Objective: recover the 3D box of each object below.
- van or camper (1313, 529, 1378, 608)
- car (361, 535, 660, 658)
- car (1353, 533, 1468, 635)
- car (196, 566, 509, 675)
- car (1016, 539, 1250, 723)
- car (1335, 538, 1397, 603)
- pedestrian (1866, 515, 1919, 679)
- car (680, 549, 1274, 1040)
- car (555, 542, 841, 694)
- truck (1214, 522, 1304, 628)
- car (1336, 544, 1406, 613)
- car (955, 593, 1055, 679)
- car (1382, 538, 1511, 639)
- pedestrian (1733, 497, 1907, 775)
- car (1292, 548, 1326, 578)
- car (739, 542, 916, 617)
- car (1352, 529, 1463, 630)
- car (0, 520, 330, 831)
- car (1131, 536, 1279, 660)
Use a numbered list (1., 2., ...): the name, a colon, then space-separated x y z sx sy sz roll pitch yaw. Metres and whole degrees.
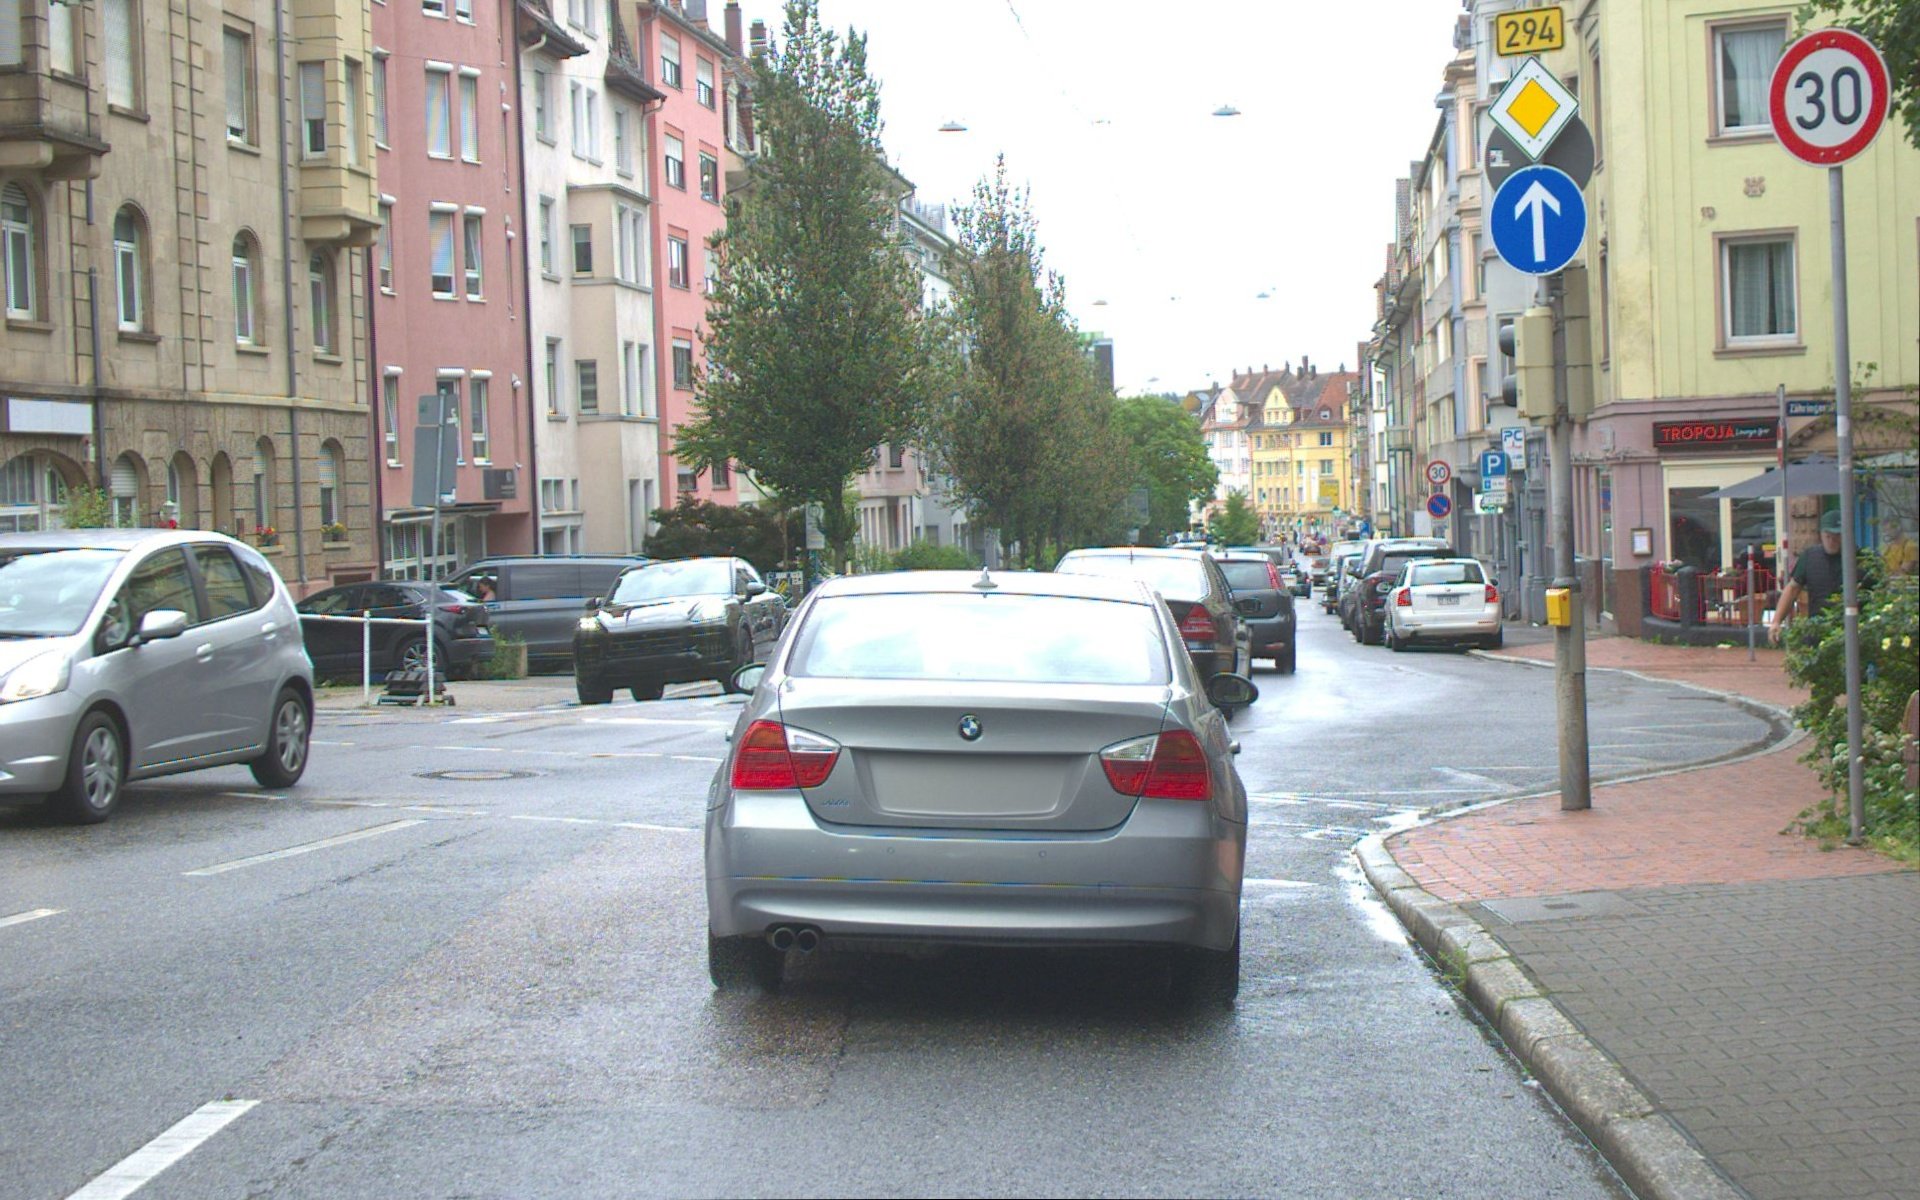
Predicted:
1. van or camper: 14.643 -1.183 130.253 2.034 2.859 6.882 1 1 9
2. car: -7.238 -0.071 55.656 4.674 1.932 1.863 0 1 -4
3. car: 7.961 -0.286 61.120 1.879 1.725 4.676 0 0 6
4. car: -8.888 0.295 50.496 4.148 1.505 1.873 -1 1 6
5. car: 1.490 0.240 28.454 1.682 1.423 3.740 0 0 7
6. car: 14.156 -1.018 120.000 1.982 2.158 4.749 -3 0 6
7. pedestrian: 10.246 -0.043 37.469 0.559 1.769 0.544 1 1 34
8. car: 0.020 0.554 12.120 1.769 1.423 3.741 0 1 -1
9. car: -3.030 0.224 40.934 1.966 1.687 4.804 -1 -1 14
10. truck: 6.968 -0.556 80.192 2.032 2.404 4.826 0 0 5
11. car: 12.596 -0.654 105.565 1.982 2.000 4.624 -3 0 6
12. car: 0.984 0.727 72.912 1.621 1.643 4.419 -4 0 6
13. car: 7.838 -0.193 55.676 1.799 1.559 4.492 0 0 5
14. pedestrian: 5.329 0.206 21.281 0.829 1.673 0.892 1 1 29
15. car: 19.961 -2.124 196.737 1.879 1.725 4.439 0 1 6
16. car: -3.819 -0.583 99.897 4.830 1.967 2.047 -2 0 6
17. car: 8.702 -0.395 67.228 1.920 1.821 5.008 -3 0 6
18. car: -4.957 0.330 18.820 1.626 1.513 3.869 0 1 12
19. car: 3.001 -0.017 42.678 1.697 1.478 3.793 0 0 2
